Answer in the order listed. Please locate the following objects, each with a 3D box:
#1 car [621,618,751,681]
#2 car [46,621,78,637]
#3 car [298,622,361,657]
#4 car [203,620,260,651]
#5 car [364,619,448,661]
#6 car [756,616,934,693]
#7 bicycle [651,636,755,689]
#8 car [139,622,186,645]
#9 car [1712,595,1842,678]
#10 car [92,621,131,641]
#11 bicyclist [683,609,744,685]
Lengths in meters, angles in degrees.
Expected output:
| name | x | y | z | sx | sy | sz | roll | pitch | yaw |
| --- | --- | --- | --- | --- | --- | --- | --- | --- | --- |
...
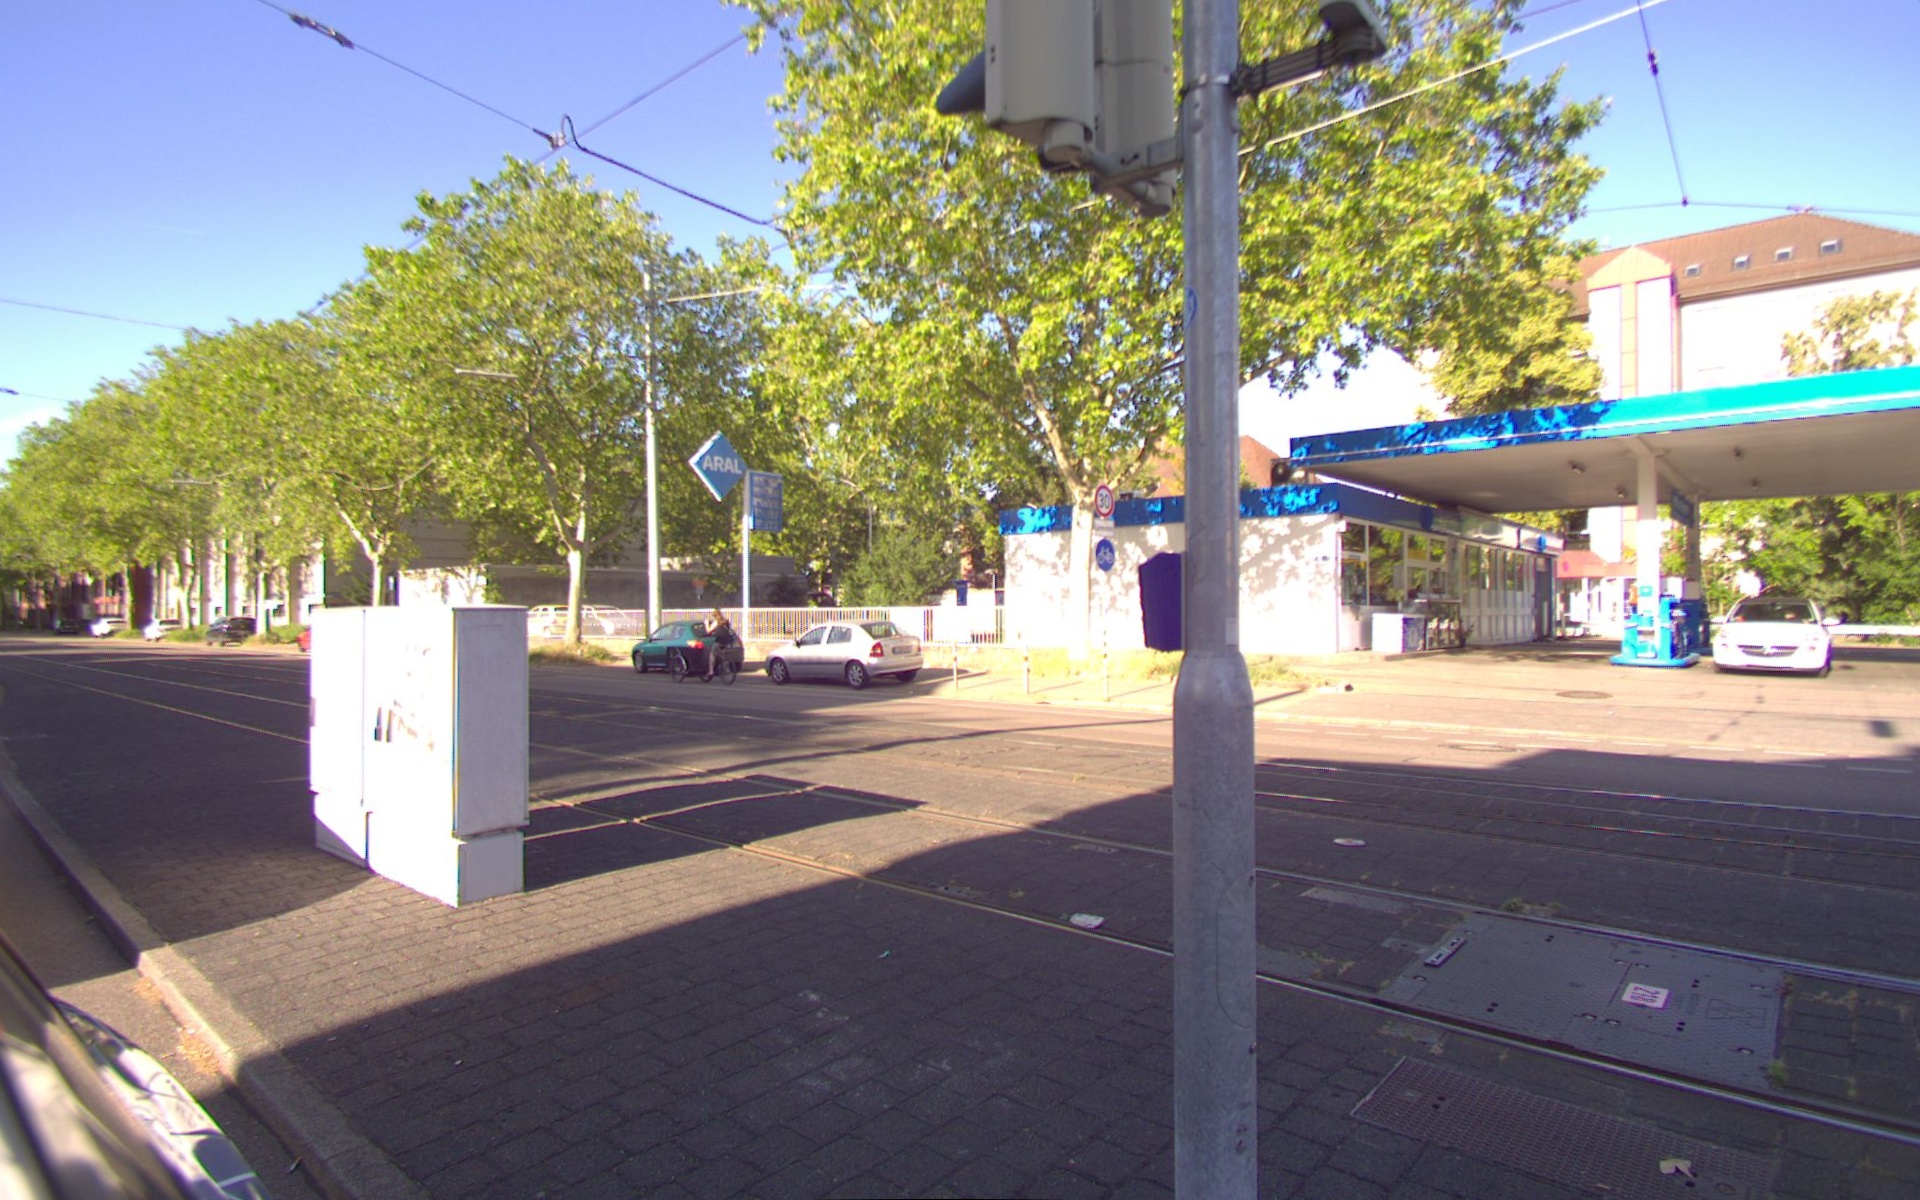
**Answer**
| name | x | y | z | sx | sy | sz | roll | pitch | yaw |
| --- | --- | --- | --- | --- | --- | --- | --- | --- | --- |
| car | -7.330 | 1.275 | 26.933 | 3.519 | 1.475 | 1.670 | -1 | 2 | 43 |
| car | -85.324 | 2.725 | 96.120 | 3.998 | 1.525 | 1.779 | -1 | -1 | 41 |
| car | -28.556 | 1.748 | 45.800 | 3.045 | 1.519 | 1.620 | -1 | -1 | 41 |
| car | -40.755 | 1.949 | 56.592 | 3.998 | 1.674 | 1.779 | -1 | -1 | 41 |
| car | -21.943 | 1.548 | 40.053 | 3.652 | 1.541 | 1.802 | -1 | -1 | 41 |
| car | -2.632 | 1.157 | 22.663 | 3.965 | 1.475 | 1.771 | -1 | 2 | 43 |
| bicycle | -5.853 | 1.388 | 22.974 | 2.518 | 1.110 | 1.045 | -1 | -3 | 41 |
| car | -53.721 | 2.261 | 68.165 | 3.998 | 1.509 | 1.779 | -1 | -1 | 41 |
| car | 16.025 | 0.674 | 19.908 | 1.812 | 1.453 | 3.947 | -1 | -1 | 39 |
| car | -66.684 | 2.396 | 79.531 | 3.998 | 1.525 | 1.779 | -1 | -1 | 41 |
| bicyclist | -5.527 | 1.029 | 22.698 | 1.027 | 1.650 | 0.922 | -2 | -1 | 41 |
